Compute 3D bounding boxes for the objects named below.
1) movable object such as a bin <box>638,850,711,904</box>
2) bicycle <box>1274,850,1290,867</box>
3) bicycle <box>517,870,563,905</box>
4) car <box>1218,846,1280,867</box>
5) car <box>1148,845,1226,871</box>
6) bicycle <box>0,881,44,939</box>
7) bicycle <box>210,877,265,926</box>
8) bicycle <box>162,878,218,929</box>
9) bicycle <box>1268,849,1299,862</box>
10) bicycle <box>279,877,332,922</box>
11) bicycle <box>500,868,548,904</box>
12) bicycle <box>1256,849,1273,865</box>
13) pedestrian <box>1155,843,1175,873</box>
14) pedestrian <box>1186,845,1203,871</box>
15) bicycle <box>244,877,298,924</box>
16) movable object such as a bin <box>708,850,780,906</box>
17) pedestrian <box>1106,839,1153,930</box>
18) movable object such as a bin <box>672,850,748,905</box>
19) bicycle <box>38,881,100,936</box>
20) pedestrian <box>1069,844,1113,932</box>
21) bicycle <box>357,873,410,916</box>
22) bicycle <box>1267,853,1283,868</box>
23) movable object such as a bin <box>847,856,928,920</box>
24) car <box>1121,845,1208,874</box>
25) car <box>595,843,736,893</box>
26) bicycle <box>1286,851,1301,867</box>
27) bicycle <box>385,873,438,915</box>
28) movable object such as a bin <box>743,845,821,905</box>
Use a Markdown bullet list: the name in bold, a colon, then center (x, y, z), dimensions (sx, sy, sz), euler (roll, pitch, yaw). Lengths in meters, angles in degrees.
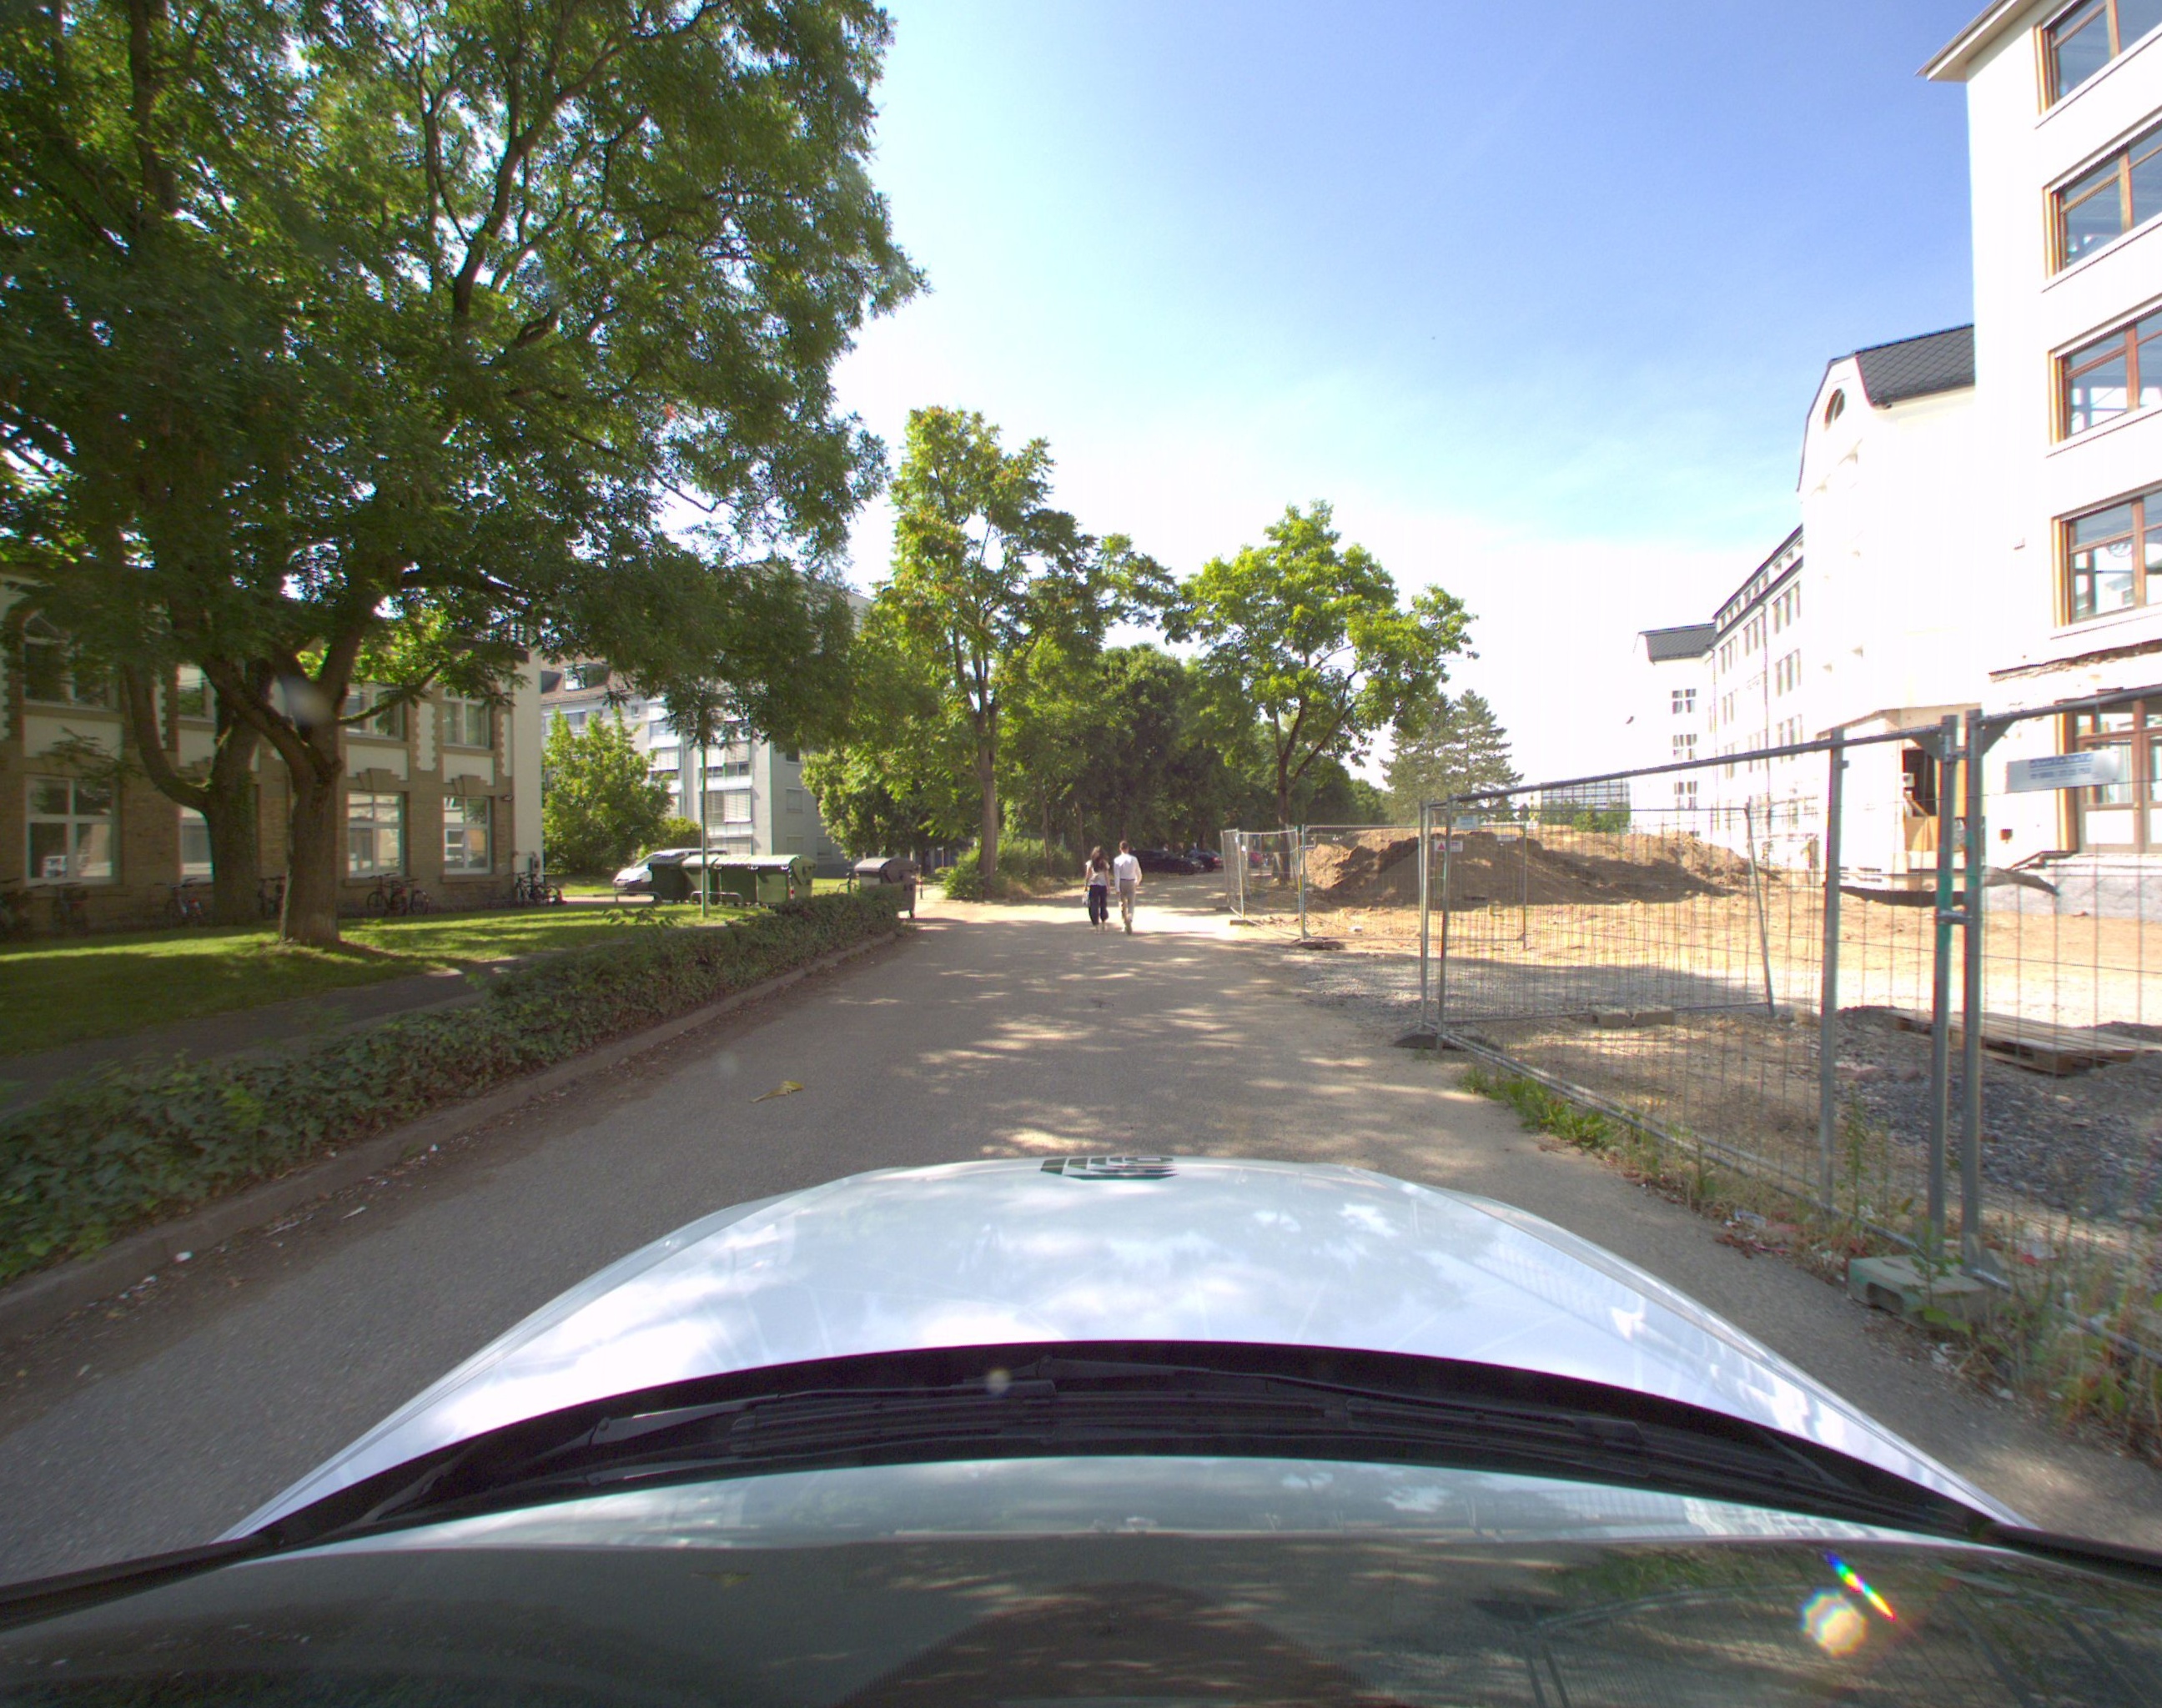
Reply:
- **movable object such as a bin**: center (-11.361, 0.630, 22.772), dimensions (1.333, 1.431, 1.256), euler (-1, 0, 26)
- **bicycle**: center (16.185, 0.356, 65.601), dimensions (0.707, 1.284, 2.700), euler (-1, 0, 26)
- **bicycle**: center (-15.922, 0.974, 23.968), dimensions (1.521, 0.992, 0.448), euler (0, 1, 29)
- **car**: center (12.897, 0.176, 62.513), dimensions (4.247, 1.524, 1.903), euler (-1, 0, 24)
- **car**: center (6.783, 0.245, 52.108), dimensions (4.619, 1.584, 2.009), euler (0, 1, 17)
- **bicycle**: center (-19.945, 1.034, 15.218), dimensions (1.521, 0.992, 0.448), euler (0, 1, 29)
- **bicycle**: center (-18.697, 1.034, 18.039), dimensions (1.521, 0.992, 0.448), euler (0, 1, 29)
- **bicycle**: center (-18.961, 1.035, 17.327), dimensions (1.521, 0.992, 0.448), euler (0, 1, 29)
- **bicycle**: center (18.974, 0.141, 76.335), dimensions (2.653, 1.284, 0.823), euler (0, 0, 20)
- **bicycle**: center (-18.176, 1.046, 19.079), dimensions (1.521, 0.992, 0.448), euler (0, 1, 29)
- **bicycle**: center (-16.095, 0.909, 23.505), dimensions (1.609, 0.992, 0.448), euler (0, 1, 29)
- **bicycle**: center (15.035, 0.259, 66.658), dimensions (0.707, 1.284, 2.807), euler (-1, 0, 26)
- **pedestrian**: center (4.972, 0.223, 48.049), dimensions (1.006, 1.781, 0.824), euler (-1, 0, 18)
- **pedestrian**: center (7.033, 0.235, 50.490), dimensions (0.917, 1.595, 0.789), euler (0, 1, 18)
- **bicycle**: center (-18.448, 1.044, 18.537), dimensions (1.521, 0.992, 0.448), euler (0, 1, 29)
- **movable object such as a bin**: center (-8.843, 0.615, 21.408), dimensions (1.210, 1.431, 1.253), euler (-1, 0, 16)
- **pedestrian**: center (0.945, 0.569, 15.911), dimensions (0.754, 1.727, 0.852), euler (-1, 1, -8)
- **movable object such as a bin**: center (-10.042, 0.618, 22.073), dimensions (1.349, 1.431, 1.256), euler (-1, 0, 26)
- **bicycle**: center (-19.730, 1.041, 15.872), dimensions (1.522, 0.992, 0.448), euler (0, 1, 27)
- **pedestrian**: center (0.185, 0.635, 15.827), dimensions (0.735, 1.640, 0.779), euler (-1, 1, -8)
- **bicycle**: center (-17.476, 0.997, 20.387), dimensions (1.645, 0.992, 0.448), euler (0, 1, 29)
- **bicycle**: center (17.037, 0.589, 71.464), dimensions (0.809, 1.284, 2.700), euler (0, 0, 26)
- **movable object such as a bin**: center (-4.486, 0.760, 18.849), dimensions (1.387, 1.396, 1.256), euler (-1, 0, 44)
- **car**: center (4.782, 0.301, 46.508), dimensions (4.619, 1.584, 2.009), euler (0, 1, 17)
- **car**: center (-17.435, 0.543, 34.461), dimensions (1.975, 1.933, 5.071), euler (-1, 0, 28)
- **bicycle**: center (18.106, 0.407, 69.389), dimensions (0.707, 1.284, 2.653), euler (-1, 0, 26)
- **bicycle**: center (-17.158, 1.013, 20.876), dimensions (1.664, 0.992, 0.448), euler (0, 1, 29)
- **movable object such as a bin**: center (-7.609, 0.524, 20.770), dimensions (1.323, 1.481, 1.255), euler (-1, 0, 21)
